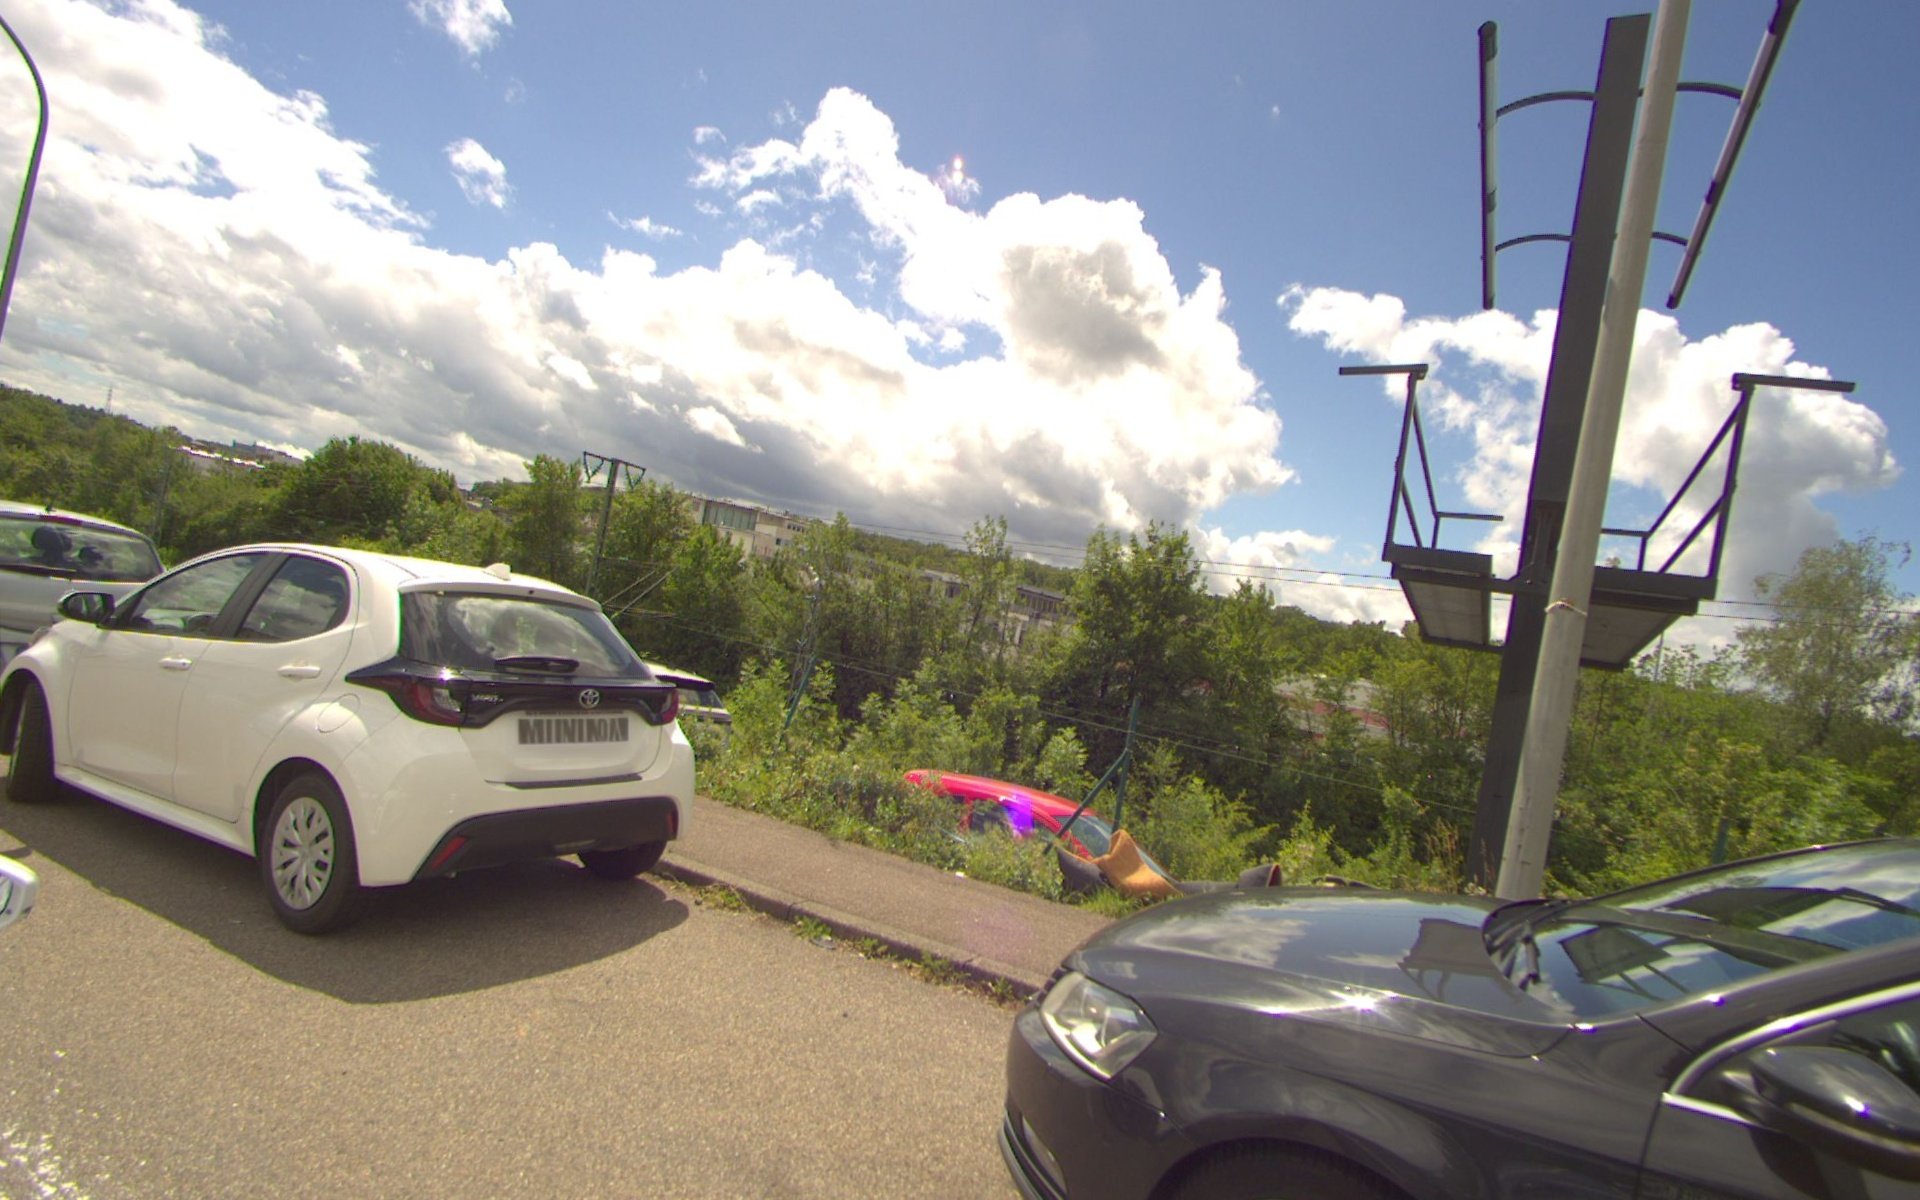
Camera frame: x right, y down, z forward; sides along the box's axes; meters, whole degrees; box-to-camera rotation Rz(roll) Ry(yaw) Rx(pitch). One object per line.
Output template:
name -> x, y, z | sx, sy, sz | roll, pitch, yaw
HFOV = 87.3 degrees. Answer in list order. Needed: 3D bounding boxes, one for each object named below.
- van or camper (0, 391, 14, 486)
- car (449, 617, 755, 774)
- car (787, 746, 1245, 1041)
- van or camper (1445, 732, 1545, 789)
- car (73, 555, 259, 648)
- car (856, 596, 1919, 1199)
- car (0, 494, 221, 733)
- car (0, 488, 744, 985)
van or camper -> -12.866, -1.239, 10.802 | 5.816, 2.615, 2.130 | 7, -1, 30
car -> -5.450, 1.392, 15.163 | 4.452, 1.527, 1.711 | 8, -3, 30
car -> 0.479, 2.431, 9.171 | 3.633, 1.527, 1.711 | 8, -3, 30
van or camper -> 34.623, 10.359, 65.129 | 5.225, 2.720, 1.925 | 6, -4, 39
car -> -17.550, 0.030, 22.223 | 3.812, 1.524, 1.797 | 7, 0, 29
car -> 2.199, 1.107, 1.829 | 4.495, 1.503, 1.711 | 8, -3, 30
car -> -7.634, -0.082, 7.691 | 3.633, 1.527, 1.711 | 8, -3, 30
car -> -3.276, 0.465, 5.187 | 3.889, 1.495, 1.711 | 8, -3, 29
